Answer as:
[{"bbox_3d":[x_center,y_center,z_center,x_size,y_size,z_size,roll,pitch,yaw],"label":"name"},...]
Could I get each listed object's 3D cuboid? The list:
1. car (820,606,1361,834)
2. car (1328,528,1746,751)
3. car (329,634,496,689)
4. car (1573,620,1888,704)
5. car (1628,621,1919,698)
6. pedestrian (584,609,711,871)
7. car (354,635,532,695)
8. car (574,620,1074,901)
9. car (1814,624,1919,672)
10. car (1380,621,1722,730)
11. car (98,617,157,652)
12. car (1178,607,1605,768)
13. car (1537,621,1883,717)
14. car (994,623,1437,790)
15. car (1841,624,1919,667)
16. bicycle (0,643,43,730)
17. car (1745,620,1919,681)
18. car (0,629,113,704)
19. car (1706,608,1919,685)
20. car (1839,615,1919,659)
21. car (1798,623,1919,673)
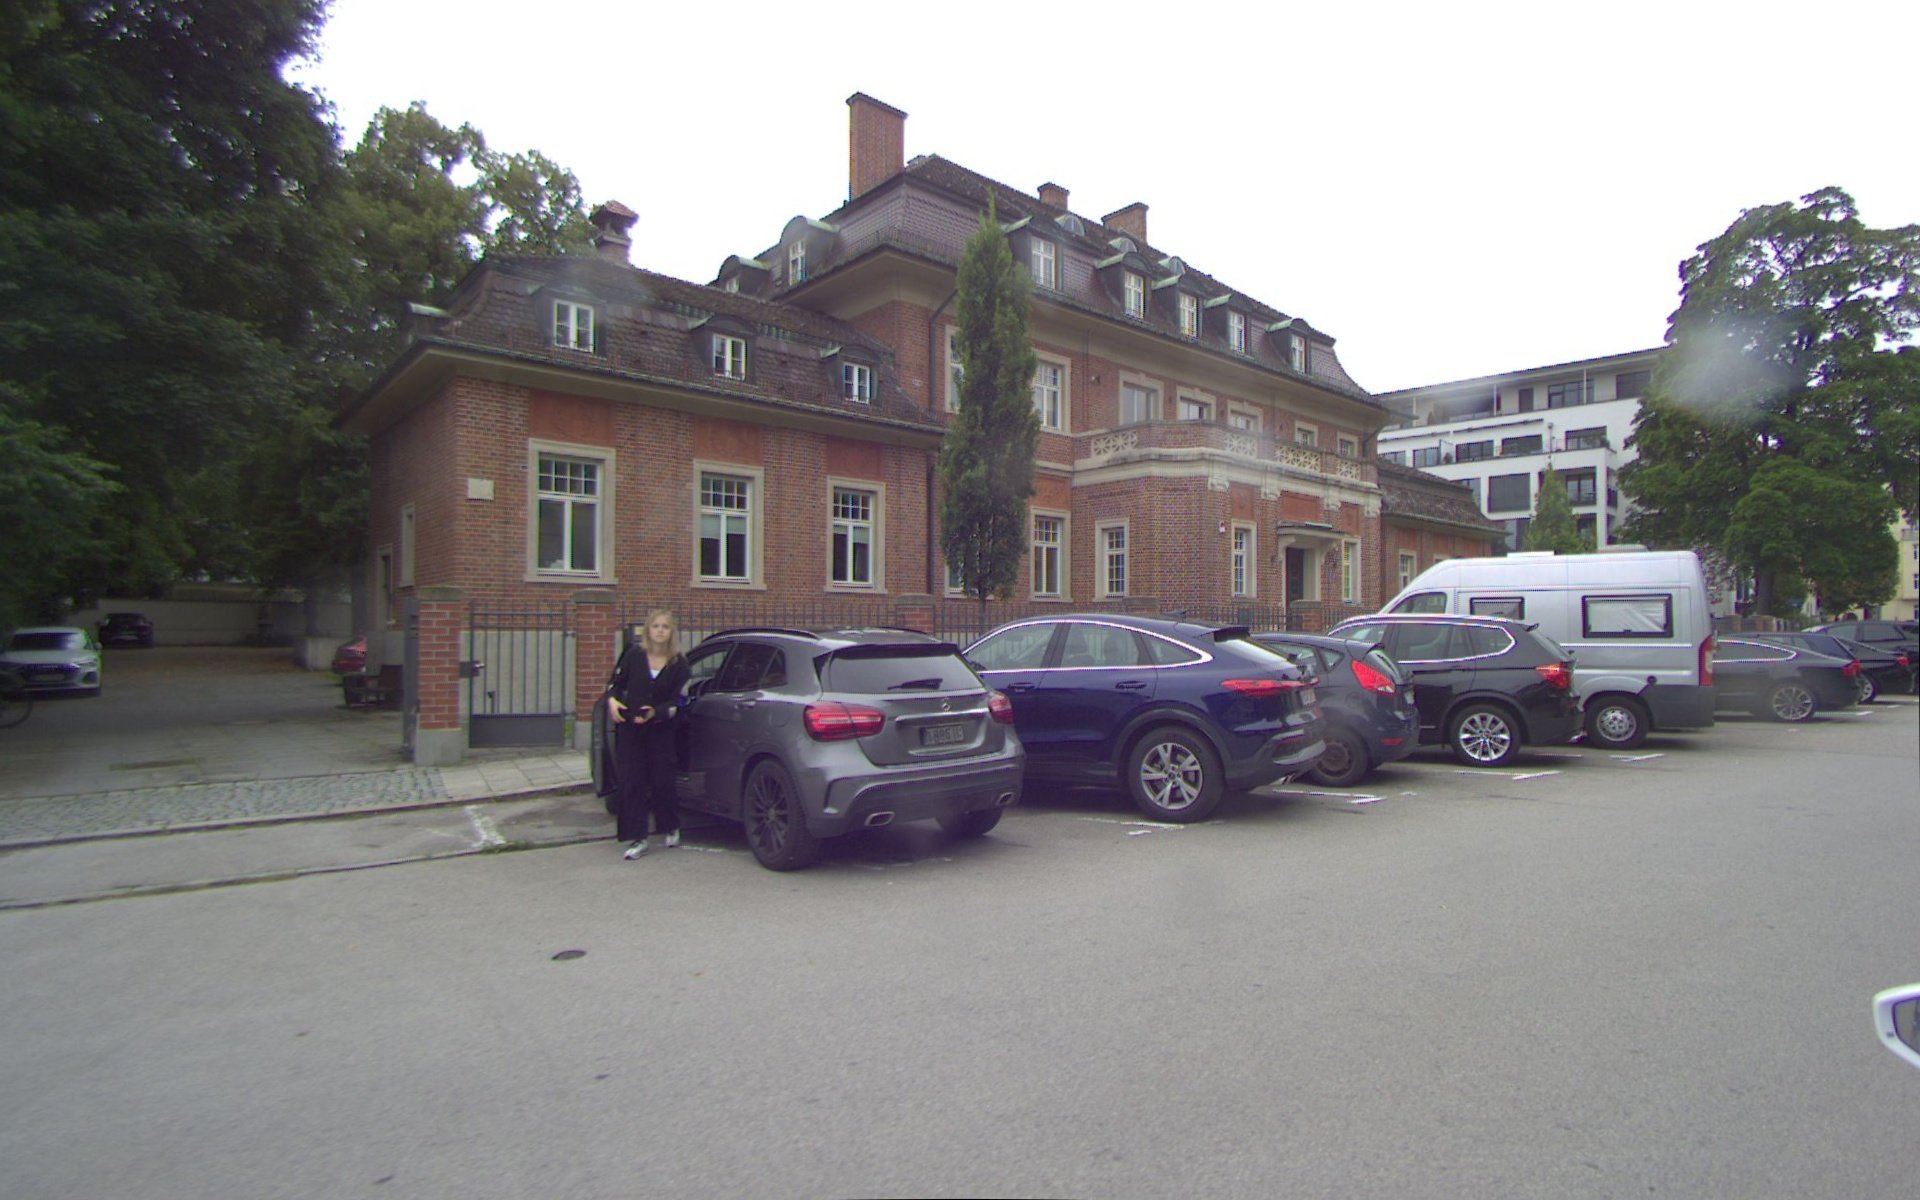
[{"bbox_3d":[1.102,0.982,9.119,4.447,1.614,1.962,-3,-3,30],"label":"car"},{"bbox_3d":[7.696,0.567,13.834,4.555,2.597,2.230,-2,-2,30],"label":"car"},{"bbox_3d":[-15.305,1.671,28.191,3.851,1.407,1.733,1,-2,-41],"label":"car"},{"bbox_3d":[14.570,1.216,19.360,4.441,1.470,1.819,-3,-3,24],"label":"car"},{"bbox_3d":[16.746,1.250,20.859,4.441,1.436,1.927,-3,-3,24],"label":"car"},{"bbox_3d":[-2.140,0.907,6.860,0.706,1.669,0.586,1,-2,-33],"label":"pedestrian"},{"bbox_3d":[-13.418,1.635,26.165,3.851,1.407,1.733,1,-2,-41],"label":"car"},{"bbox_3d":[-1.316,0.983,7.851,1.918,1.550,4.296,2,-3,-39],"label":"car"},{"bbox_3d":[30.188,1.501,31.737,4.428,1.470,1.897,-1,-2,20],"label":"car"},{"bbox_3d":[9.242,1.132,16.103,4.445,1.537,1.935,-1,-2,28],"label":"car"},{"bbox_3d":[-34.651,1.422,41.773,1.741,1.407,3.950,1,-2,-42],"label":"car"},{"bbox_3d":[5.145,1.037,12.276,4.447,1.646,1.964,-3,-4,30],"label":"car"},{"bbox_3d":[12.602,1.174,17.321,4.443,1.470,1.975,-2,-2,27],"label":"car"},{"bbox_3d":[2.715,1.094,11.015,4.346,1.506,1.830,-3,-4,32],"label":"car"},{"bbox_3d":[34.225,1.593,35.399,4.323,1.458,1.967,-1,-2,13],"label":"car"},{"bbox_3d":[-16.545,1.407,15.869,3.018,1.407,0.687,1,-2,-43],"label":"bicycle"},{"bbox_3d":[24.364,1.346,27.239,4.439,1.588,1.889,-1,-2,22],"label":"car"},{"bbox_3d":[-21.670,1.510,24.037,1.985,1.639,3.950,1,-2,-42],"label":"car"},{"bbox_3d":[20.491,1.099,23.538,4.441,1.686,1.987,-2,-3,24],"label":"car"},{"bbox_3d":[37.936,1.456,39.670,4.323,1.721,2.139,-1,-2,11],"label":"car"},{"bbox_3d":[31.395,1.587,33.795,4.428,1.529,1.932,-3,-3,20],"label":"car"}]
